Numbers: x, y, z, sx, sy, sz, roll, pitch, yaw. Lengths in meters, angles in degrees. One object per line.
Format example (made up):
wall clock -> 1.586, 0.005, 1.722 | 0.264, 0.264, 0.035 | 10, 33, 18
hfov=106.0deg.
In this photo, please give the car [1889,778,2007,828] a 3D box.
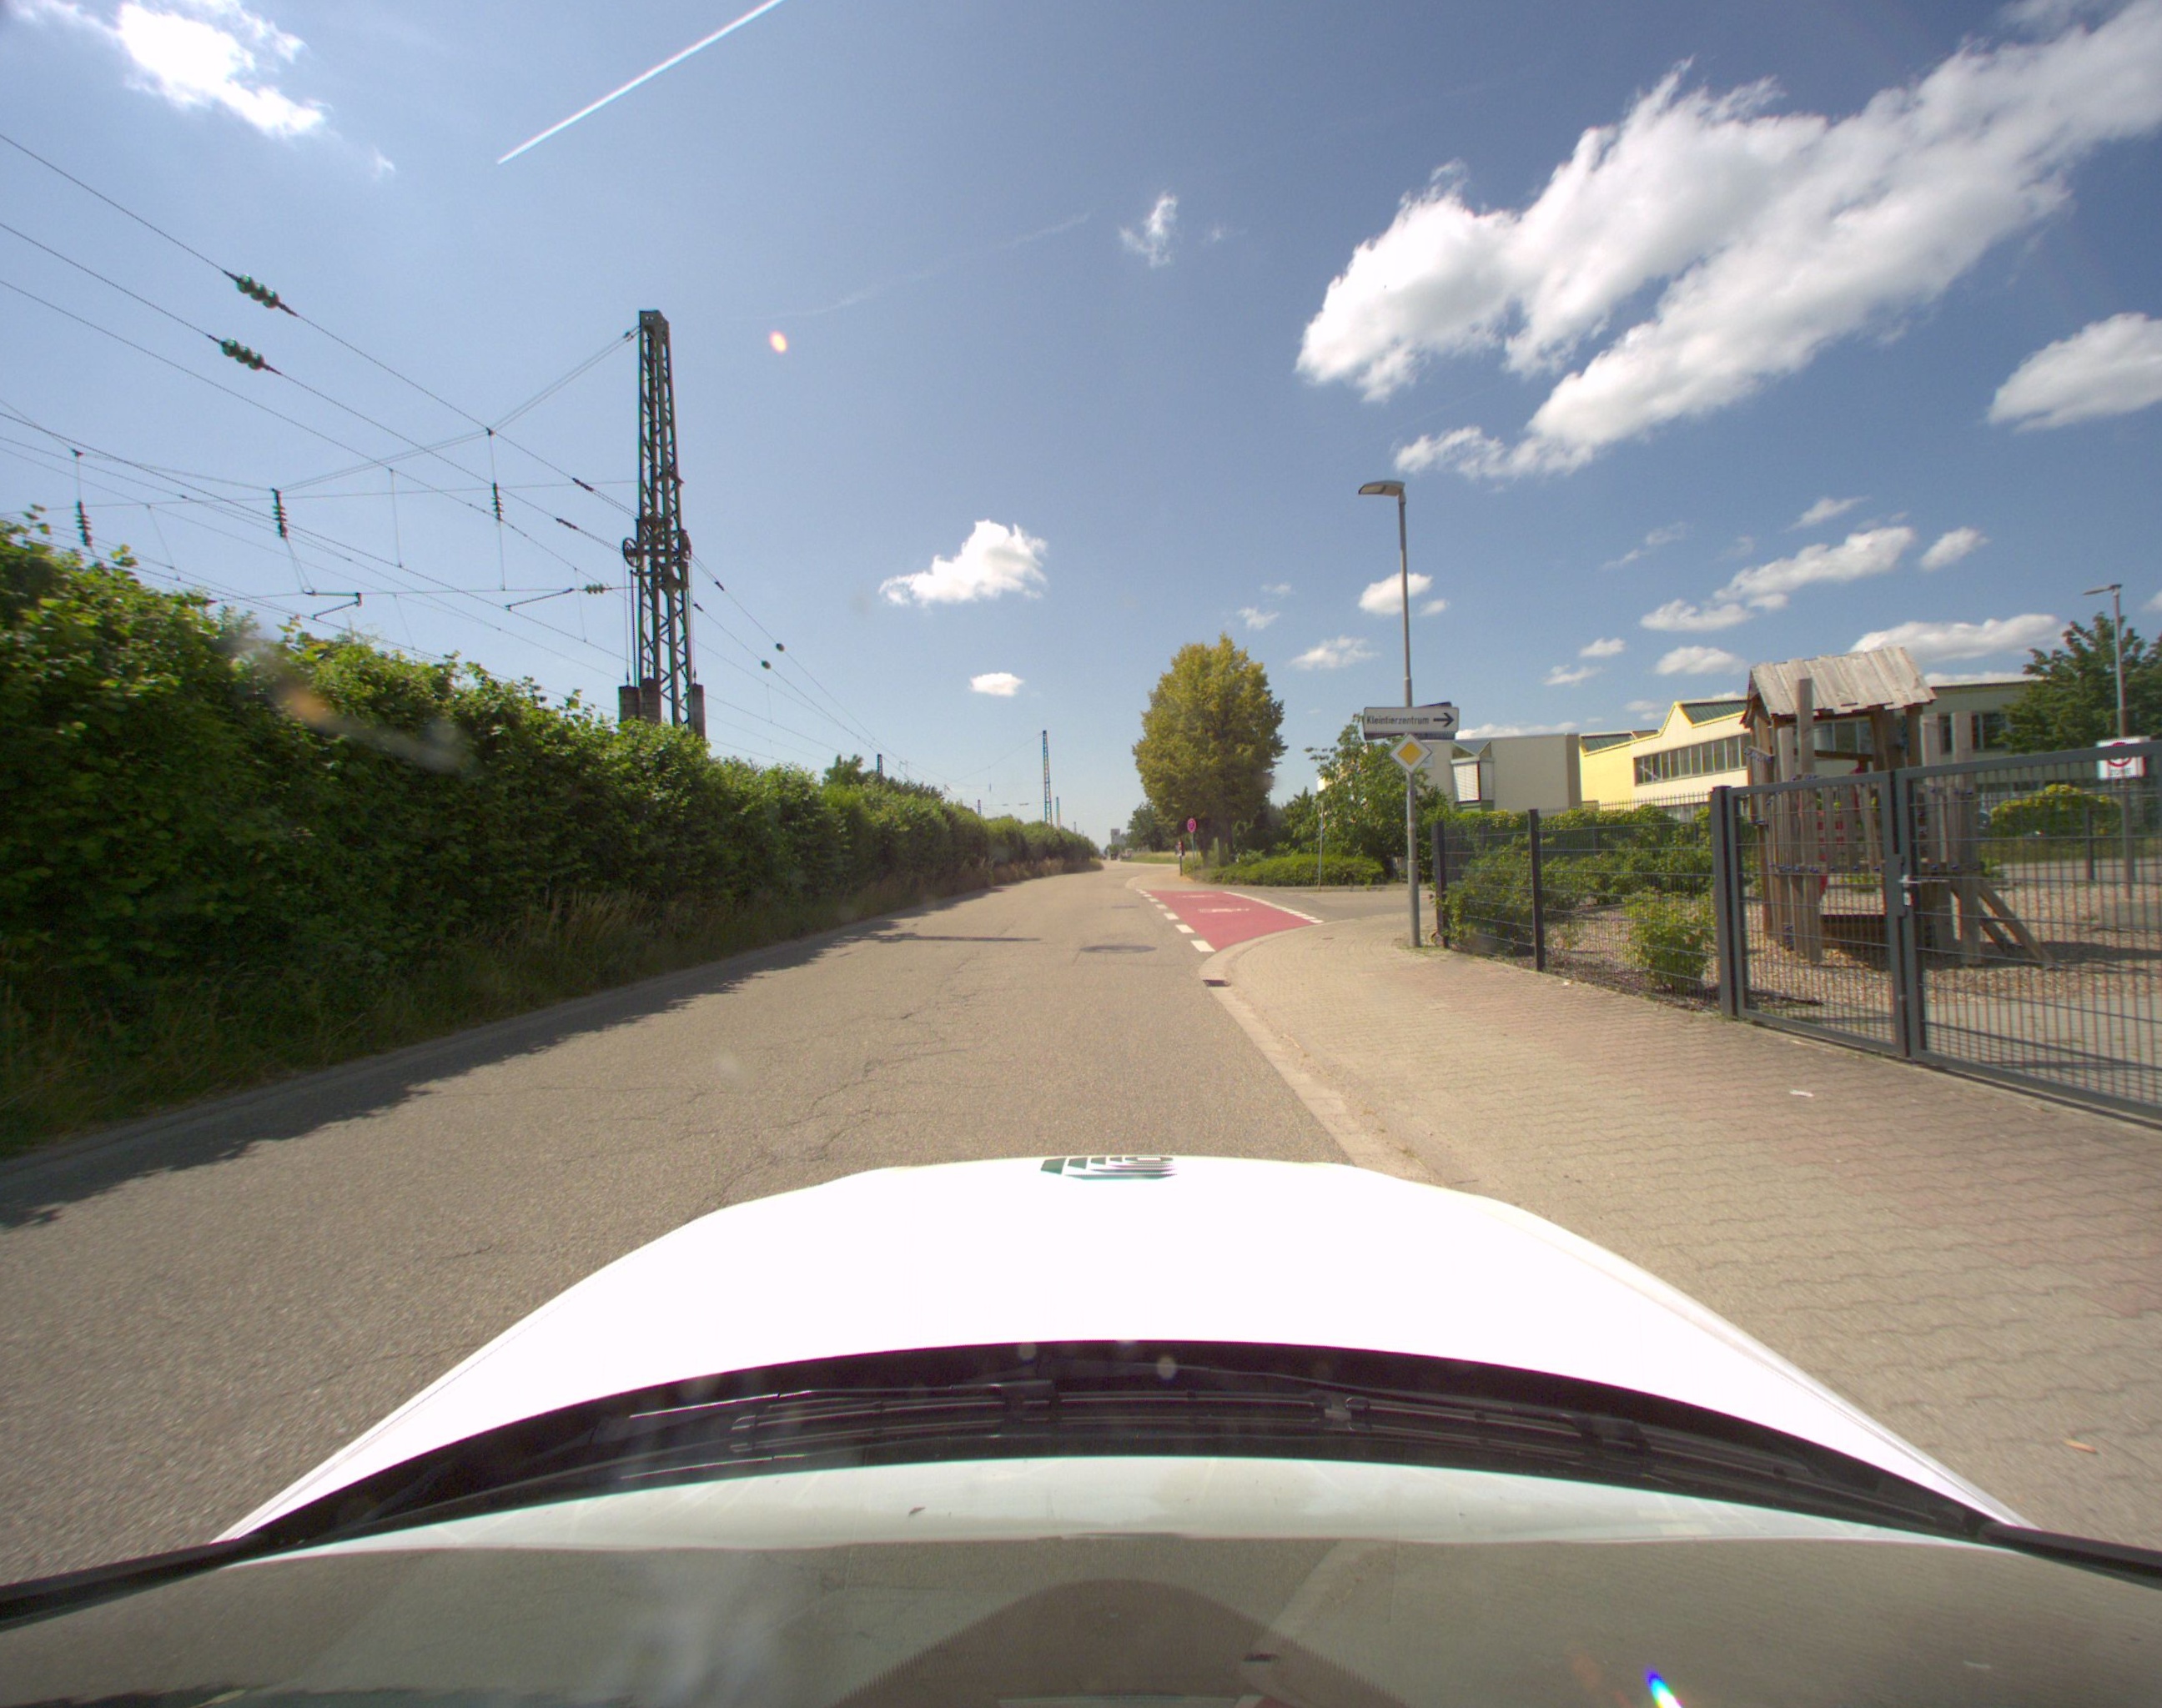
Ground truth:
car -> 44.041, -2.544, 41.509 | 1.981, 2.014, 4.010 | -3, -2, 10
